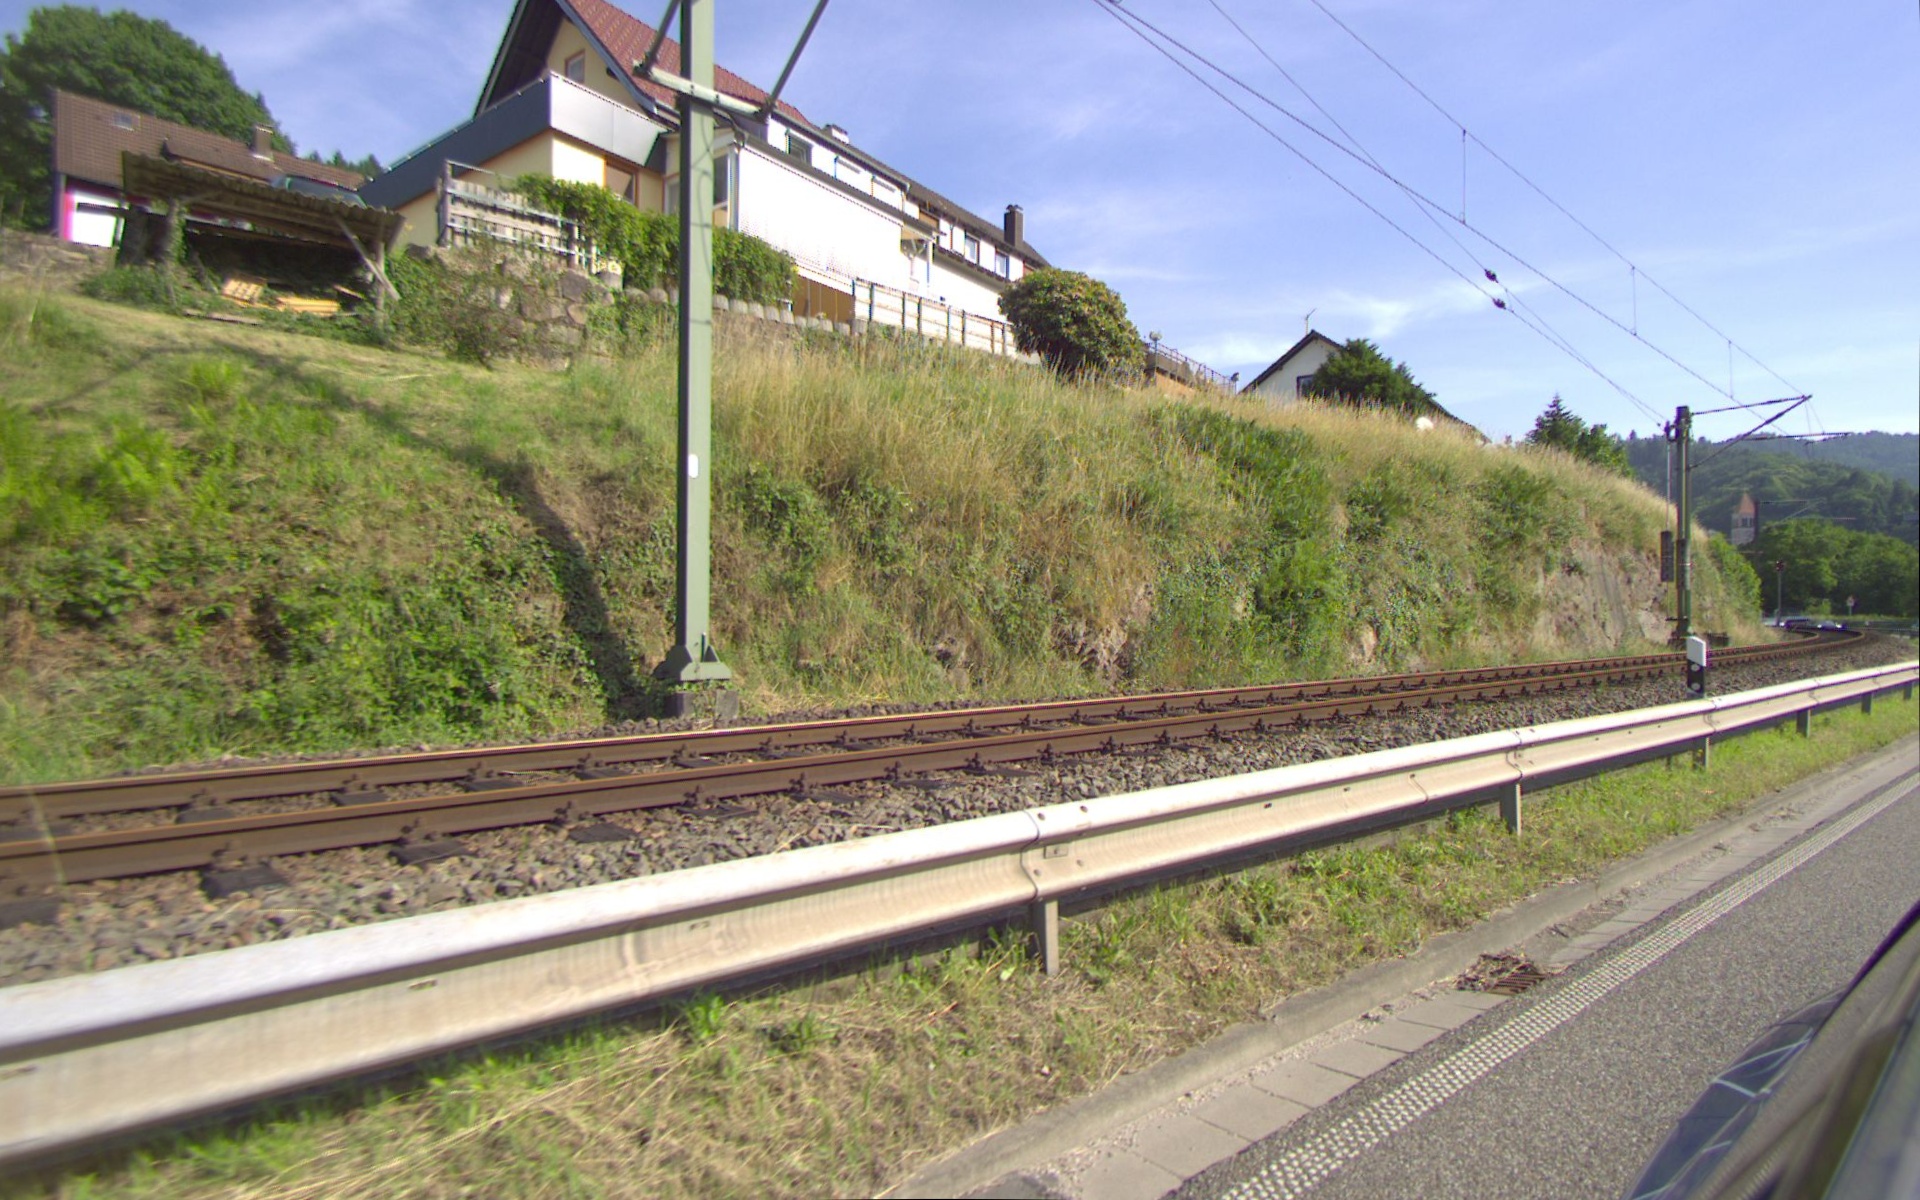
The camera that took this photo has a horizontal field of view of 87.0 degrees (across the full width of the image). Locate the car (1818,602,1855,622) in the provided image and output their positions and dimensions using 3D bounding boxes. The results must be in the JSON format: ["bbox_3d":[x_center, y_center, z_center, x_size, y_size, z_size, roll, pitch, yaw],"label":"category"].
[{"bbox_3d":[81.133,1.105,93.738,1.871,1.767,4.132,0,0,31],"label":"car"}]

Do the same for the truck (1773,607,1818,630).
[{"bbox_3d":[94.651,2.085,114.711,2.141,2.397,6.686,-4,-3,25],"label":"truck"}]

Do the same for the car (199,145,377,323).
[{"bbox_3d":[-11.588,-6.118,17.370,3.738,1.560,1.726,-3,-1,43],"label":"car"}]
